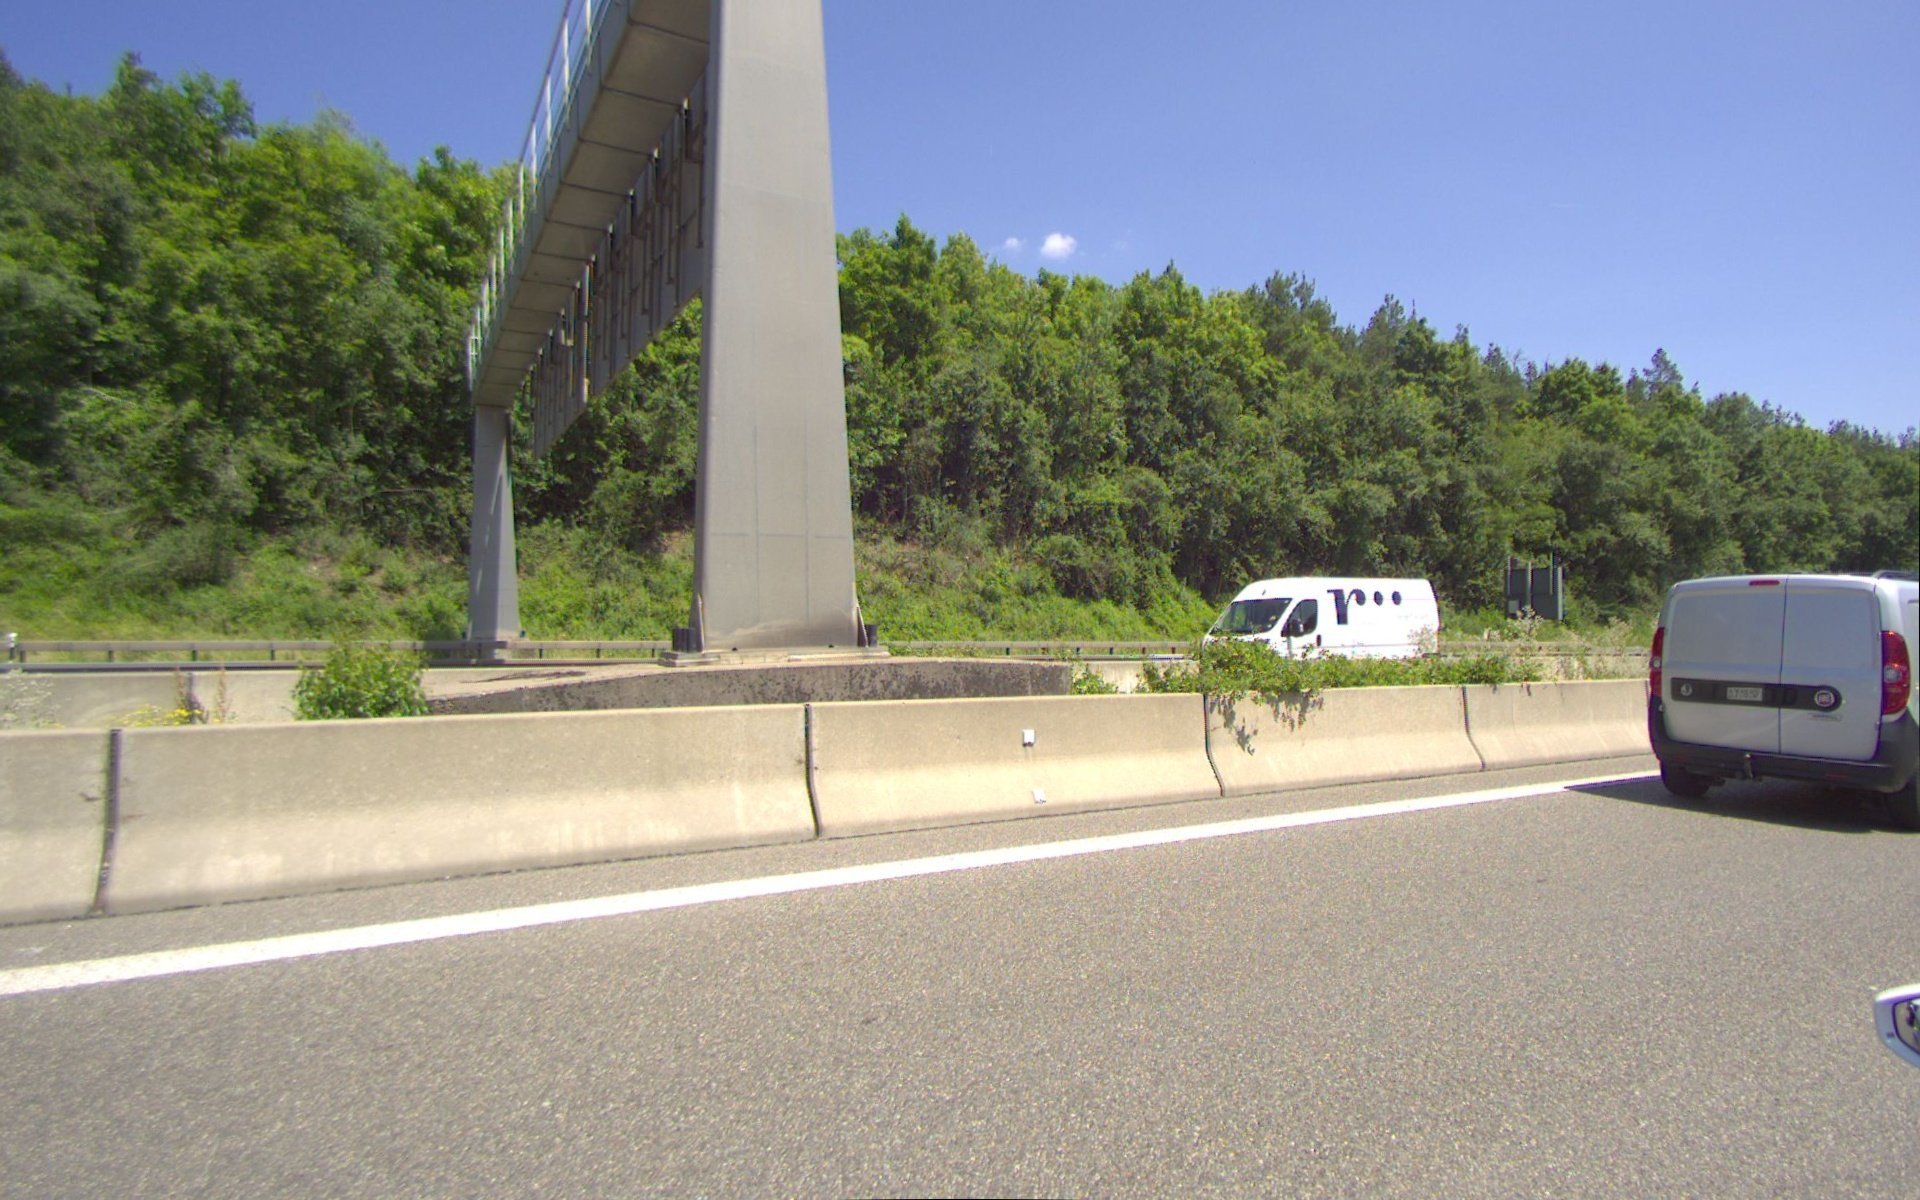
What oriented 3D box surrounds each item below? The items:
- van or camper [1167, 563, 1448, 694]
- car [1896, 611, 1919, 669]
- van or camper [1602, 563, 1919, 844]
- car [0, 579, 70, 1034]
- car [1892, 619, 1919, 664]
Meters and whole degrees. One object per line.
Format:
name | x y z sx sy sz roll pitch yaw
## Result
van or camper | 7.503 0.667 21.413 6.124 2.454 2.142 3 -1 -30
car | 35.828 1.441 36.144 4.220 2.040 1.984 1 0 -30
van or camper | 7.784 0.739 8.744 4.508 1.905 1.844 1 0 -30
car | -4.986 0.636 1.898 4.622 1.469 1.865 1 0 -30
car | 45.789 2.014 47.241 3.959 2.040 1.981 3 -1 -34
